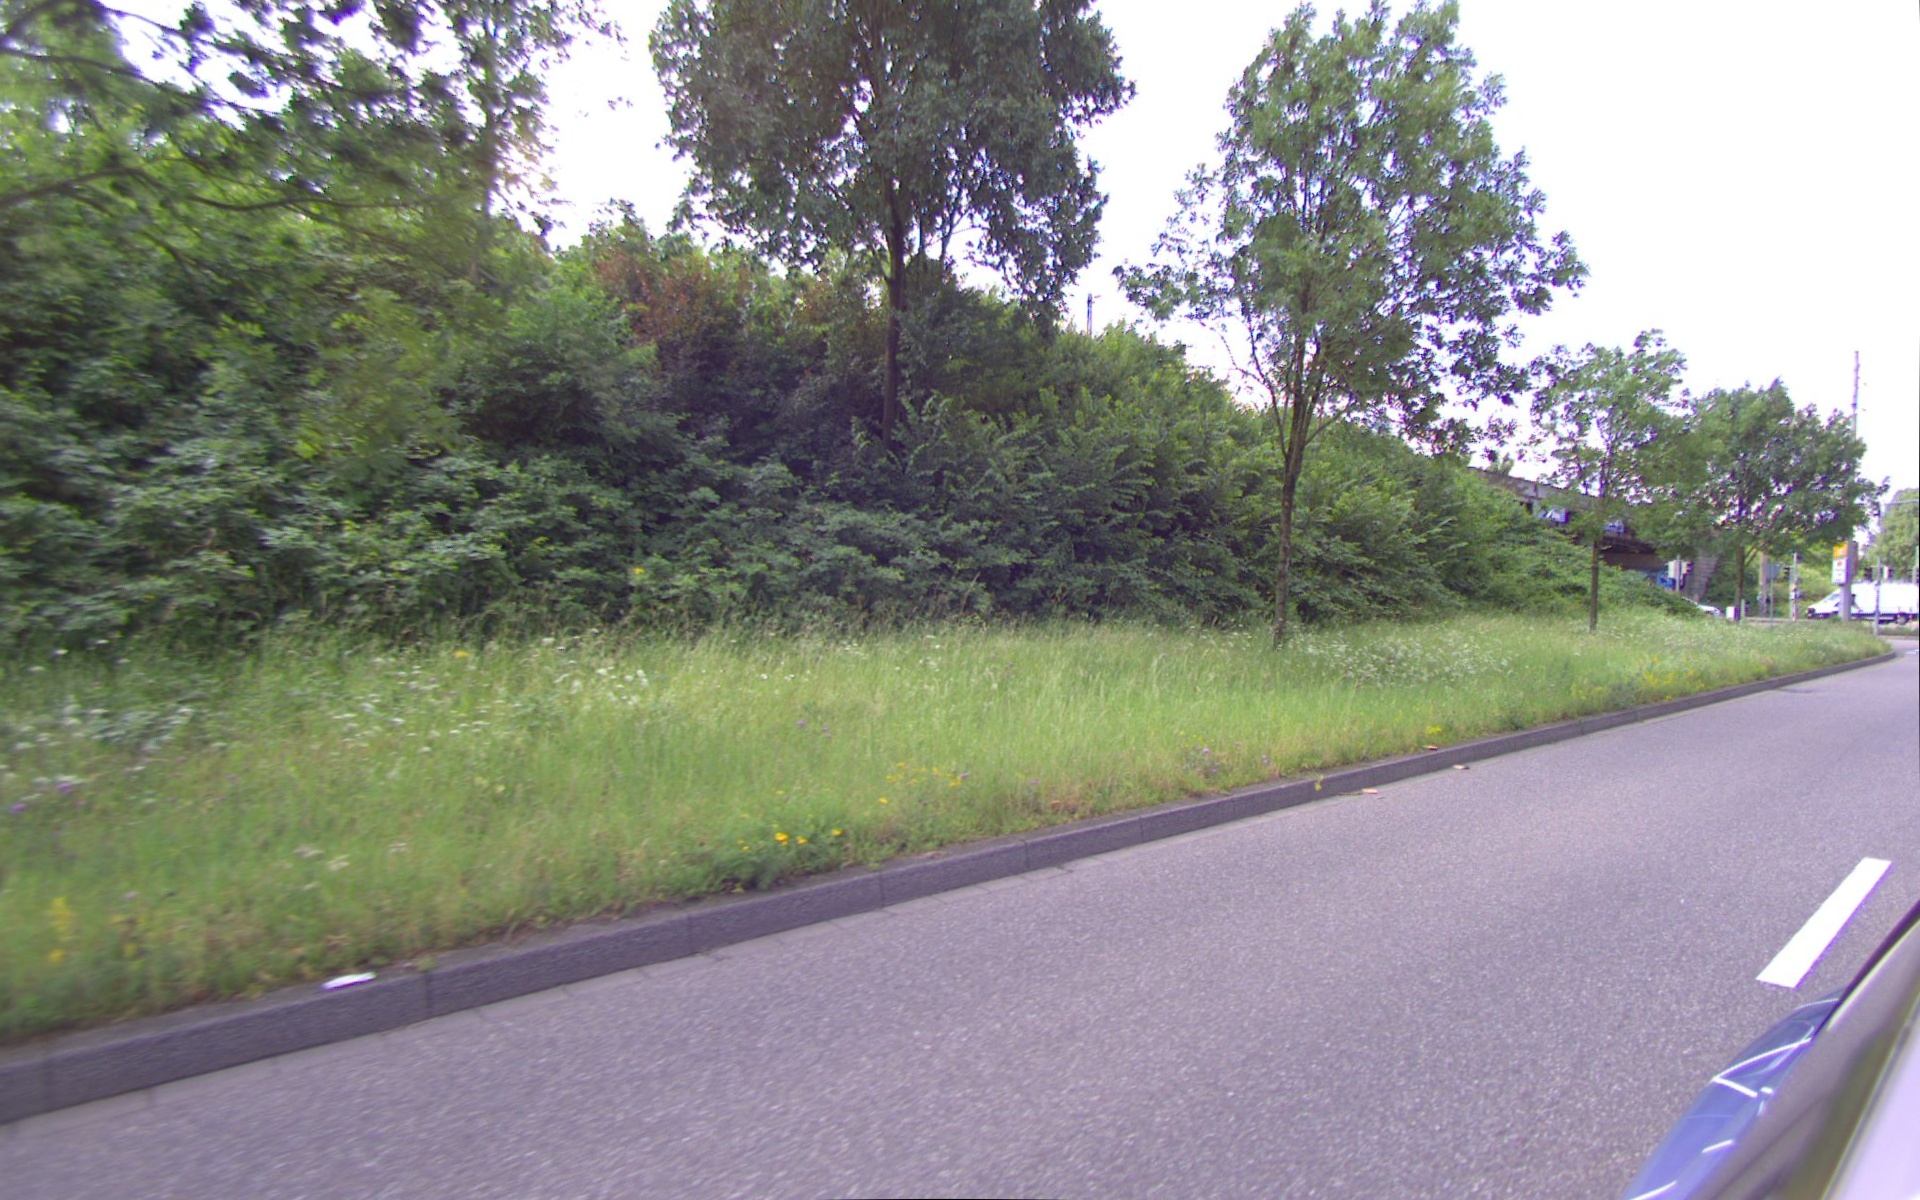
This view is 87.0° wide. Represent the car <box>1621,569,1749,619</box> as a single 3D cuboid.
[{"bbox_3d":[41.870,-0.335,58.616,5.546,2.555,2.257,-1,5,16],"label":"car"}]

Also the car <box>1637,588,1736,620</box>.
[{"bbox_3d":[39.223,0.212,54.741,3.940,1.494,1.703,-1,4,13],"label":"car"}]

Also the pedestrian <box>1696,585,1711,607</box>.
[{"bbox_3d":[56.008,-0.304,76.230,0.678,1.670,0.611,-3,3,-11],"label":"pedestrian"}]

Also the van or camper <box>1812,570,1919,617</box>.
[{"bbox_3d":[60.266,-0.420,66.717,5.875,2.818,2.158,-1,3,13],"label":"van or camper"}]

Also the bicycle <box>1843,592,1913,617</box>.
[{"bbox_3d":[43.652,0.210,48.162,2.291,1.106,0.840,0,4,22],"label":"bicycle"}]

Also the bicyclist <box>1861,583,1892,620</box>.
[{"bbox_3d":[43.639,0.077,48.176,0.814,1.698,0.840,-1,4,21],"label":"bicyclist"}]
